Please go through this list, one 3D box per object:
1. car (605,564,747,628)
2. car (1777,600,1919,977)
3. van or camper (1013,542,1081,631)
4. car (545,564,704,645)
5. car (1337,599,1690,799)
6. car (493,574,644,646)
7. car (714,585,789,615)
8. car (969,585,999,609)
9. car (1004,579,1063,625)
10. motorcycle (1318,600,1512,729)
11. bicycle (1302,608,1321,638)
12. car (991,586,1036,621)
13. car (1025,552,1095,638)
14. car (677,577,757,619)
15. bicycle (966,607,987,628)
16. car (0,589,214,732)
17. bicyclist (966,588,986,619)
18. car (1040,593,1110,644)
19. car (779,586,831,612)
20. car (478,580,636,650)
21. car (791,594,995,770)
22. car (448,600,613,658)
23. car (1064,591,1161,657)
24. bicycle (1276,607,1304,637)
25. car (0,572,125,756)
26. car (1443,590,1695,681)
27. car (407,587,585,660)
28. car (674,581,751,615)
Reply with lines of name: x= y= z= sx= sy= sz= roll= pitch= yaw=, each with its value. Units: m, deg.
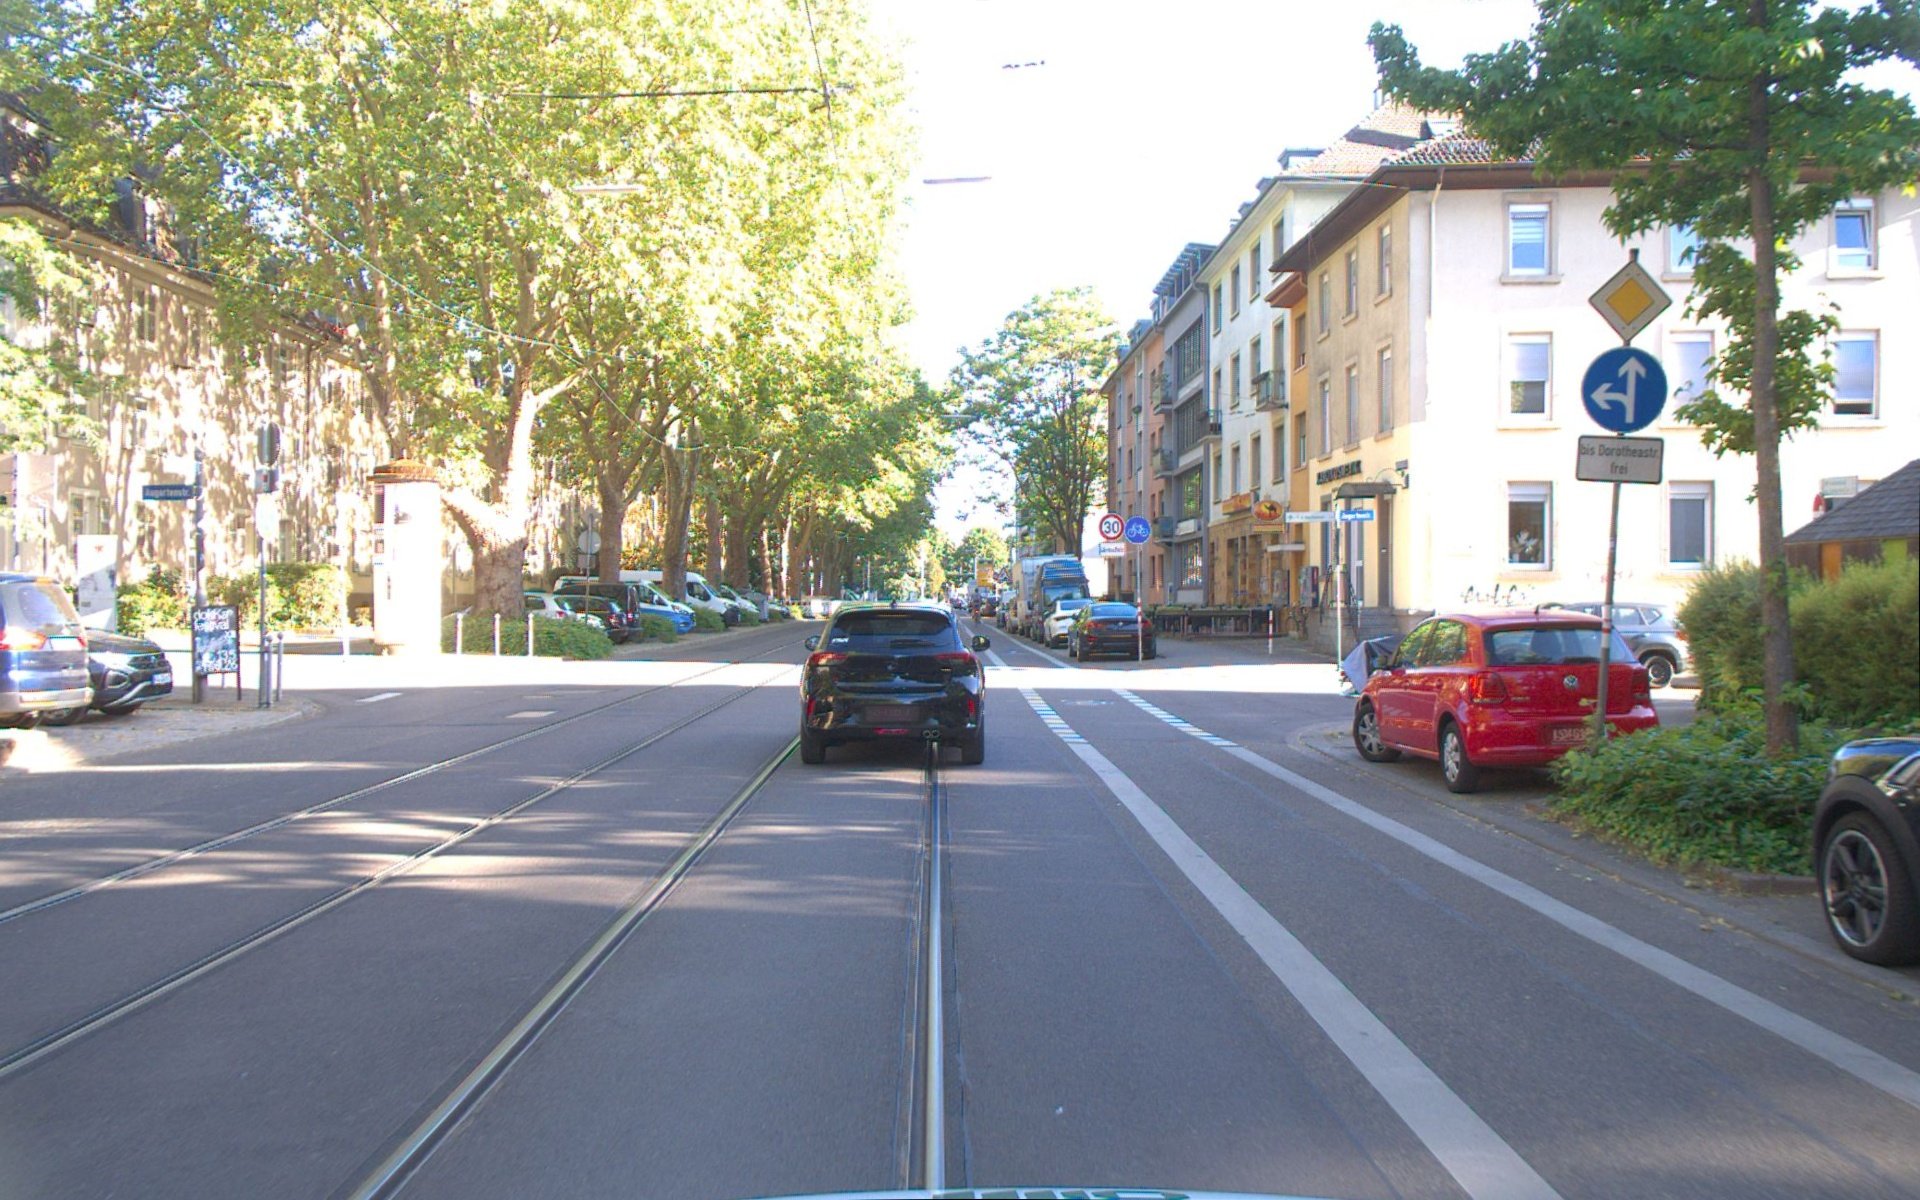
car: x=-11.974 y=-0.173 z=69.968 sx=5.521 sy=2.638 sz=2.197 roll=1 pitch=0 yaw=3
car: x=4.848 y=0.769 z=5.939 sx=1.677 sy=1.540 sz=4.035 roll=-2 pitch=0 yaw=-2
van or camper: x=3.348 y=-0.517 z=64.696 sx=2.208 sy=3.272 sz=5.530 roll=-1 pitch=0 yaw=-1
car: x=-11.559 y=0.139 z=57.260 sx=4.934 sy=2.415 sz=2.081 roll=-4 pitch=0 yaw=-1
car: x=4.703 y=0.757 z=14.676 sx=1.668 sy=1.448 sz=3.977 roll=-2 pitch=0 yaw=-2
car: x=-11.906 y=0.304 z=50.558 sx=4.220 sy=1.872 sz=1.779 roll=-4 pitch=0 yaw=-9
car: x=-12.141 y=0.005 z=96.287 sx=4.275 sy=1.694 sz=1.996 roll=1 pitch=0 yaw=-10
car: x=1.920 y=-0.237 z=134.924 sx=2.208 sy=1.873 sz=5.530 roll=-1 pitch=0 yaw=-1
car: x=3.154 y=0.072 z=71.893 sx=2.208 sy=1.873 sz=5.530 roll=-1 pitch=0 yaw=-1
motorcycle: x=5.181 y=0.734 z=18.888 sx=2.046 sy=1.382 sz=0.924 roll=-2 pitch=-1 yaw=16
bicycle: x=9.638 y=0.617 z=45.356 sx=0.464 sy=0.803 sz=1.793 roll=1 pitch=0 yaw=11
car: x=2.988 y=0.174 z=93.237 sx=2.208 sy=1.873 sz=5.530 roll=-1 pitch=0 yaw=-1
car: x=3.469 y=-0.203 z=58.134 sx=2.043 sy=2.820 sz=4.697 roll=-1 pitch=1 yaw=-1
car: x=-12.216 y=-0.119 z=83.160 sx=3.914 sy=2.049 sz=1.996 roll=1 pitch=0 yaw=-10
bicycle: x=0.821 y=0.854 z=83.179 sx=0.948 sy=1.016 sz=2.582 roll=1 pitch=0 yaw=-2
car: x=-11.554 y=0.693 z=19.956 sx=4.214 sy=1.635 sz=1.925 roll=0 pitch=0 yaw=-4
bicyclist: x=0.813 y=0.156 z=83.152 sx=0.939 sy=1.525 sz=1.093 roll=1 pitch=0 yaw=-2
car: x=3.496 y=0.581 z=50.898 sx=1.767 sy=1.459 sz=3.999 roll=-1 pitch=-1 yaw=-1
car: x=-12.416 y=-0.079 z=132.465 sx=3.903 sy=2.049 sz=2.001 roll=1 pitch=0 yaw=3
car: x=-11.707 y=0.430 z=48.232 sx=4.220 sy=1.703 sz=1.779 roll=-4 pitch=0 yaw=-9
car: x=-0.591 y=0.696 z=16.129 sx=1.727 sy=1.486 sz=3.950 roll=1 pitch=0 yaw=-1
car: x=-11.931 y=0.788 z=46.195 sx=4.220 sy=1.313 sz=1.707 roll=-4 pitch=0 yaw=-9
car: x=3.697 y=0.541 z=40.841 sx=1.846 sy=1.459 sz=4.529 roll=-3 pitch=0 yaw=-1
bicycle: x=9.286 y=0.607 z=46.531 sx=0.401 sy=0.803 sz=1.791 roll=1 pitch=0 yaw=-1
car: x=-11.360 y=0.621 z=17.340 sx=4.214 sy=1.832 sz=1.925 roll=0 pitch=0 yaw=-4
car: x=11.439 y=0.640 z=31.298 sx=4.100 sy=1.626 sz=1.891 roll=0 pitch=0 yaw=3
car: x=-12.189 y=0.603 z=43.644 sx=4.220 sy=1.621 sz=1.779 roll=-4 pitch=0 yaw=-9
car: x=-13.597 y=-0.121 z=90.853 sx=4.100 sy=1.825 sz=1.996 roll=1 pitch=0 yaw=-10
